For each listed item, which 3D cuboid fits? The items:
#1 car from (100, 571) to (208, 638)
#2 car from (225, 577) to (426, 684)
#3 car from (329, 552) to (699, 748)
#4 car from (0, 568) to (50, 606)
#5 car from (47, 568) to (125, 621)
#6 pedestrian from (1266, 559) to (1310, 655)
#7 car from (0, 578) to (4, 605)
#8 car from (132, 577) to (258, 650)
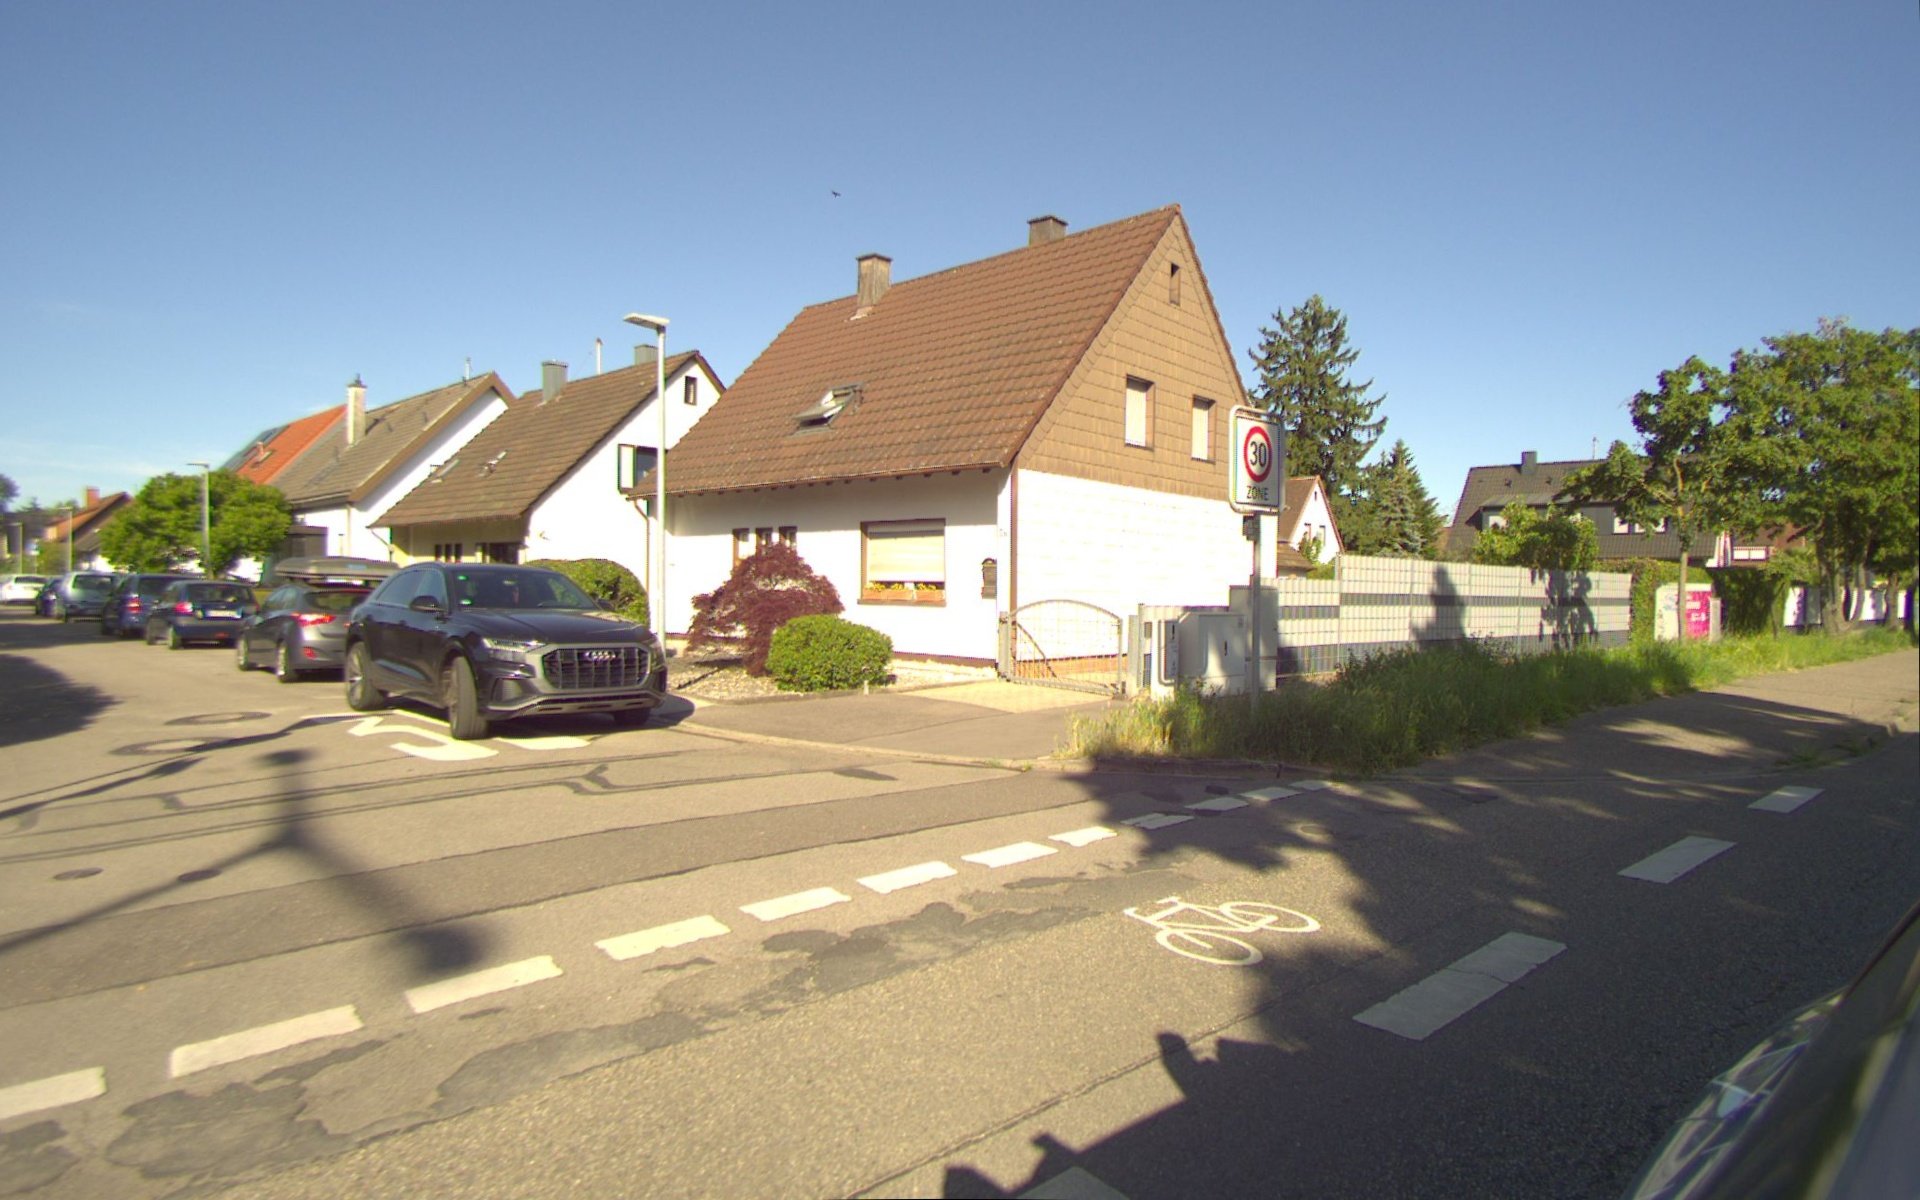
[{"bbox_3d":[-20.475,0.080,25.659,3.598,1.576,1.658,1,0,44],"label":"car"},{"bbox_3d":[-10.058,0.396,15.927,3.920,1.456,1.760,1,0,44],"label":"car"},{"bbox_3d":[-5.035,0.390,11.050,4.742,1.677,2.039,1,1,44],"label":"car"},{"bbox_3d":[-43.498,-0.619,46.925,3.598,1.691,1.658,1,0,44],"label":"car"},{"bbox_3d":[-29.609,-0.200,34.249,3.598,1.691,1.658,1,0,44],"label":"car"},{"bbox_3d":[6.110,0.124,18.826,0.626,1.730,0.606,0,0,36],"label":"pedestrian"},{"bbox_3d":[-63.308,-0.567,65.666,3.598,1.691,1.658,1,0,44],"label":"car"},{"bbox_3d":[-16.963,0.249,22.384,3.598,1.456,1.658,1,0,44],"label":"car"}]
